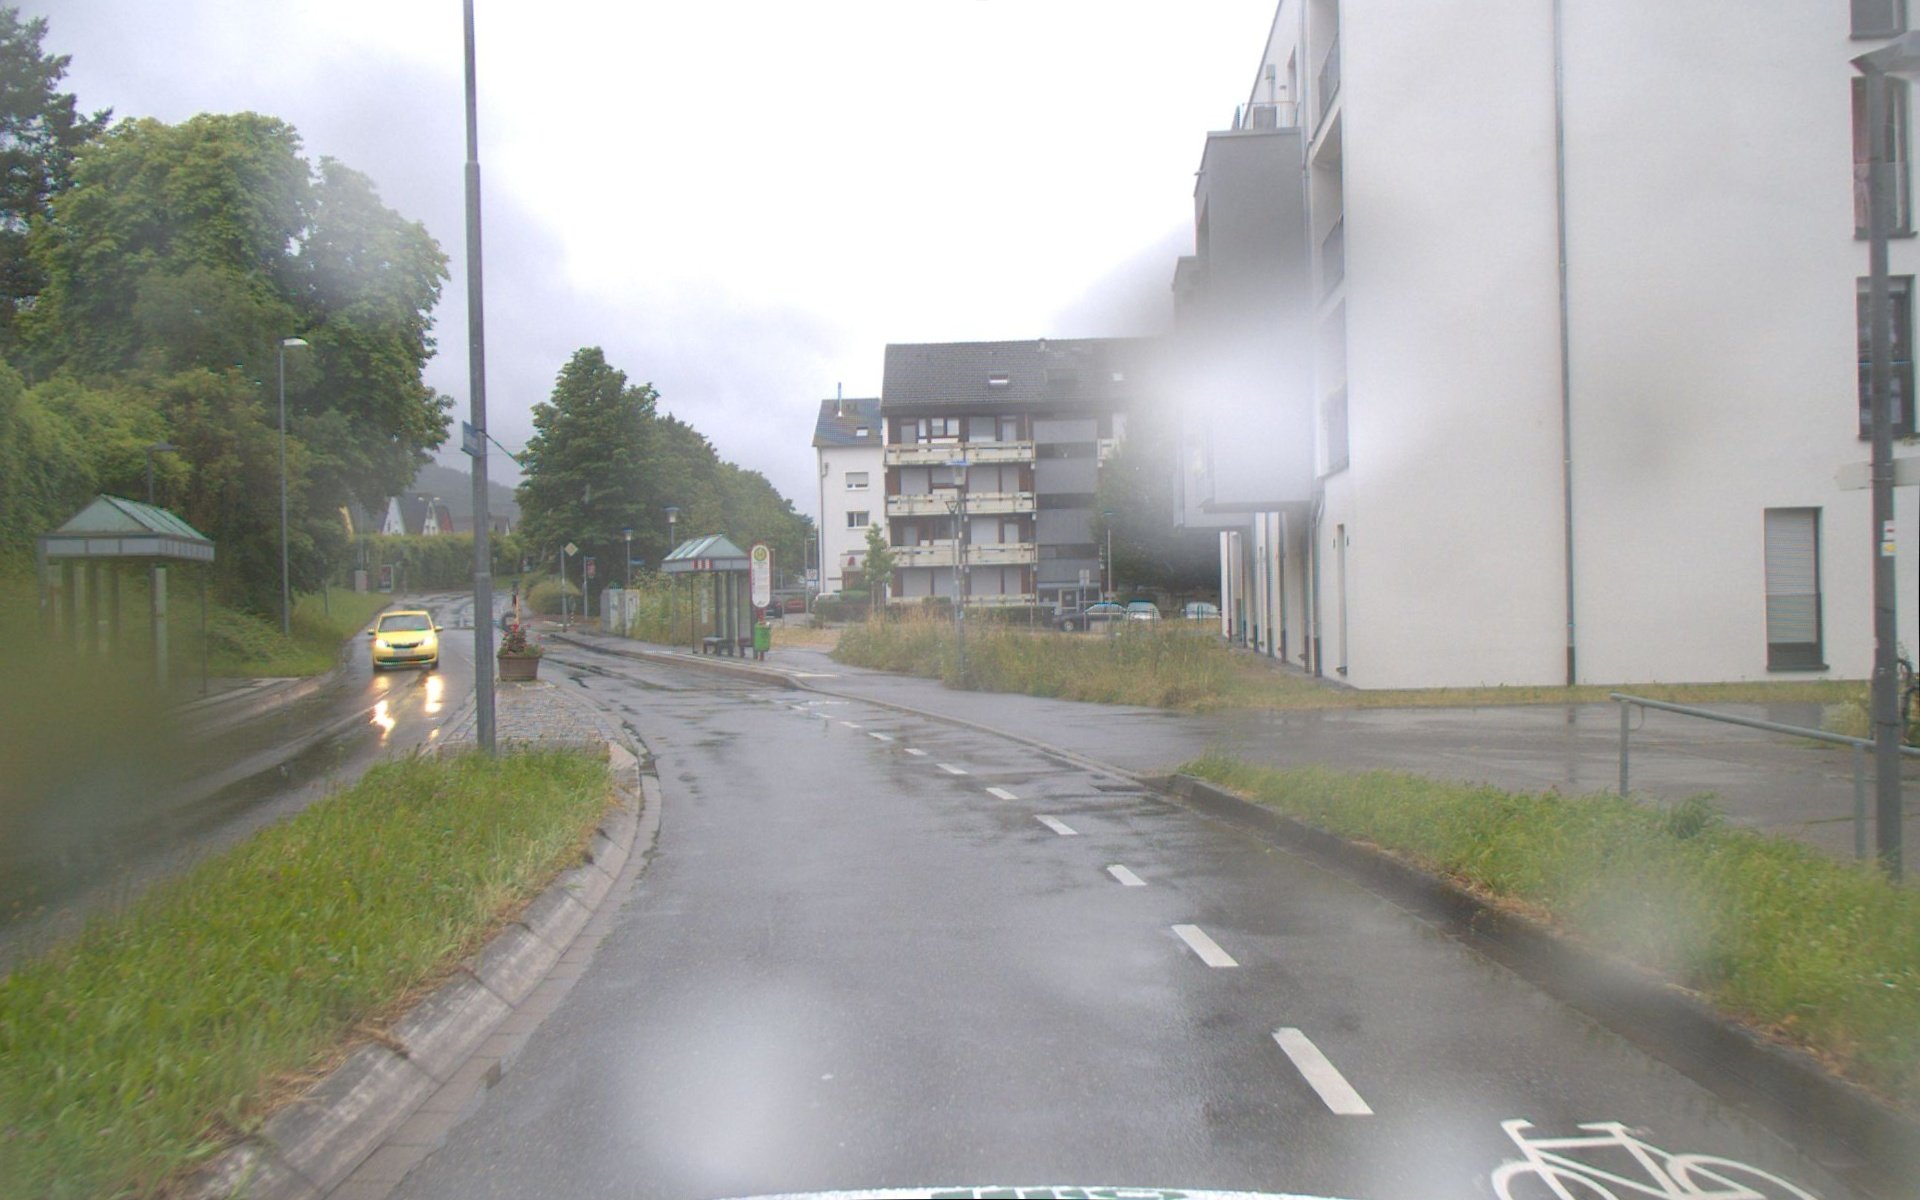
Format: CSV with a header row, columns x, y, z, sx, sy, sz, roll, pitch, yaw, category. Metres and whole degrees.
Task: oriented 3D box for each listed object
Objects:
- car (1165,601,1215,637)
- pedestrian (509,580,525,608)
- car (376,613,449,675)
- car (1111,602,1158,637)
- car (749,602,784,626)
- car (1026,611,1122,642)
x,y,z,sx,sy,sz,roll,pitch,yaw,category
10.074,0.868,72.563,1.680,1.466,3.706,0,-2,0,car
-28.030,-0.378,104.625,0.905,1.704,1.052,-3,2,-17,pedestrian
-14.281,1.112,43.271,1.546,1.435,3.460,-3,1,-15,car
7.660,0.876,72.836,1.680,1.466,3.706,0,-2,0,car
-12.567,0.890,107.196,1.661,1.463,3.595,-1,2,-17,car
5.492,1.266,79.917,4.506,1.412,1.947,1,1,0,car
